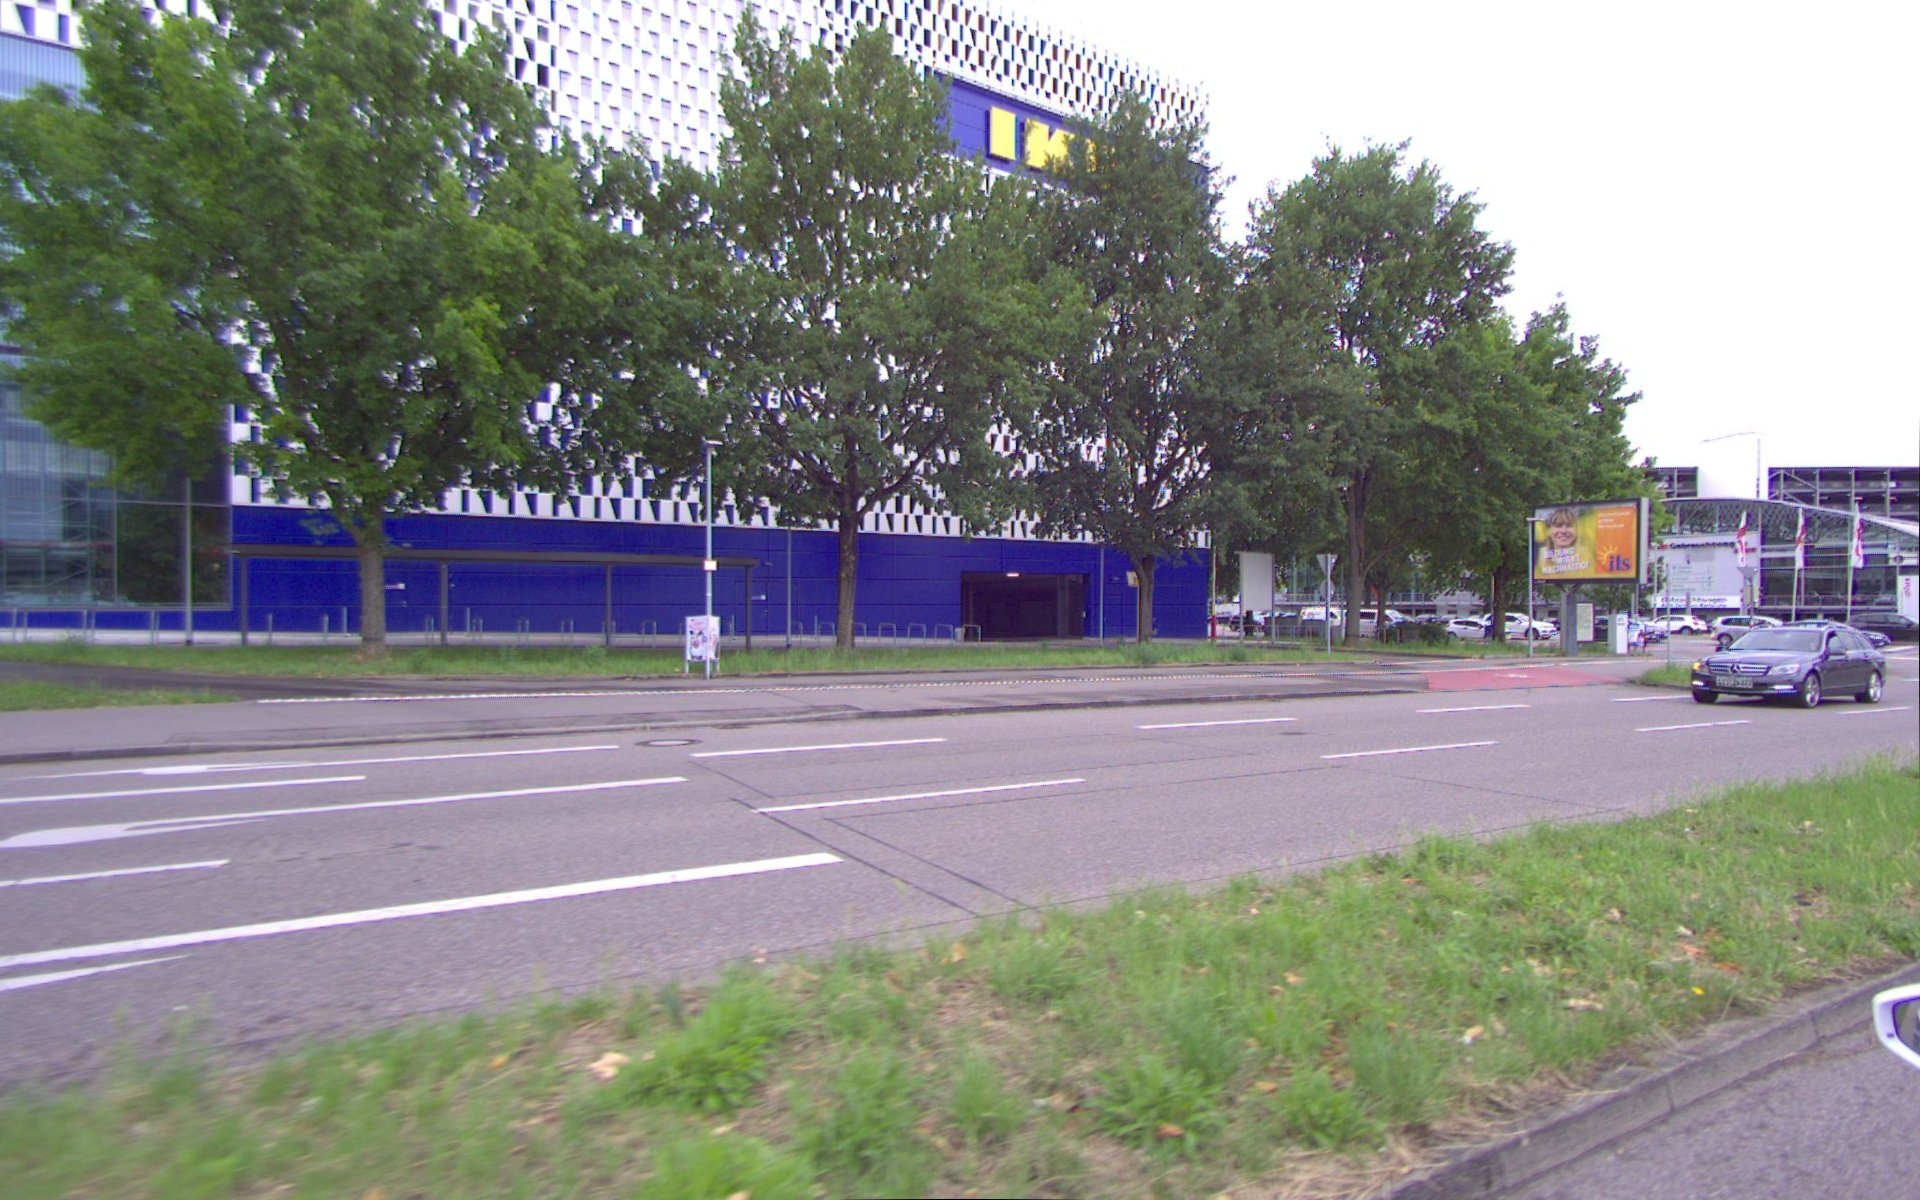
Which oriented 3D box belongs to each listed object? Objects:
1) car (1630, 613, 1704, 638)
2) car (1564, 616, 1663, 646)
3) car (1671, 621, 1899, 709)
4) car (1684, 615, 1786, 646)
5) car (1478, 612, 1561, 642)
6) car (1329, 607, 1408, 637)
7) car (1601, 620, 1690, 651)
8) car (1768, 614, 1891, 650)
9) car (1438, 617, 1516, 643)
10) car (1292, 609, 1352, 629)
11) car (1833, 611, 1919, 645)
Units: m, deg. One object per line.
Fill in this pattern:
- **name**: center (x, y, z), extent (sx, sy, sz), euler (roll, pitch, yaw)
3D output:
- **car**: center (49.060, 1.731, 69.770), extent (1.743, 1.589, 3.913), euler (-2, 1, -37)
- **car**: center (38.403, 1.773, 59.108), extent (1.981, 1.682, 4.511), euler (0, -1, -36)
- **car**: center (15.534, 1.153, 18.876), extent (4.476, 1.499, 1.784), euler (1, -2, -29)
- **car**: center (43.817, 1.693, 56.846), extent (1.981, 1.529, 4.218), euler (-2, 1, -36)
- **car**: center (37.245, 1.754, 66.987), extent (1.980, 1.734, 4.403), euler (-4, 2, -35)
- **car**: center (29.523, 1.539, 72.782), extent (1.860, 1.991, 5.100), euler (-3, 2, -33)
- **car**: center (41.279, 2.146, 60.574), extent (1.980, 1.683, 3.962), euler (-1, -2, -35)
- **car**: center (43.993, 1.584, 50.881), extent (1.981, 1.682, 4.385), euler (1, 0, -36)
- **car**: center (34.081, 1.940, 66.286), extent (1.973, 1.532, 4.202), euler (0, 0, -34)
- **car**: center (28.856, 1.508, 80.090), extent (1.973, 1.524, 4.202), euler (0, 0, -34)
- **car**: center (49.864, 1.475, 53.850), extent (1.983, 1.666, 4.366), euler (-2, 1, -40)
